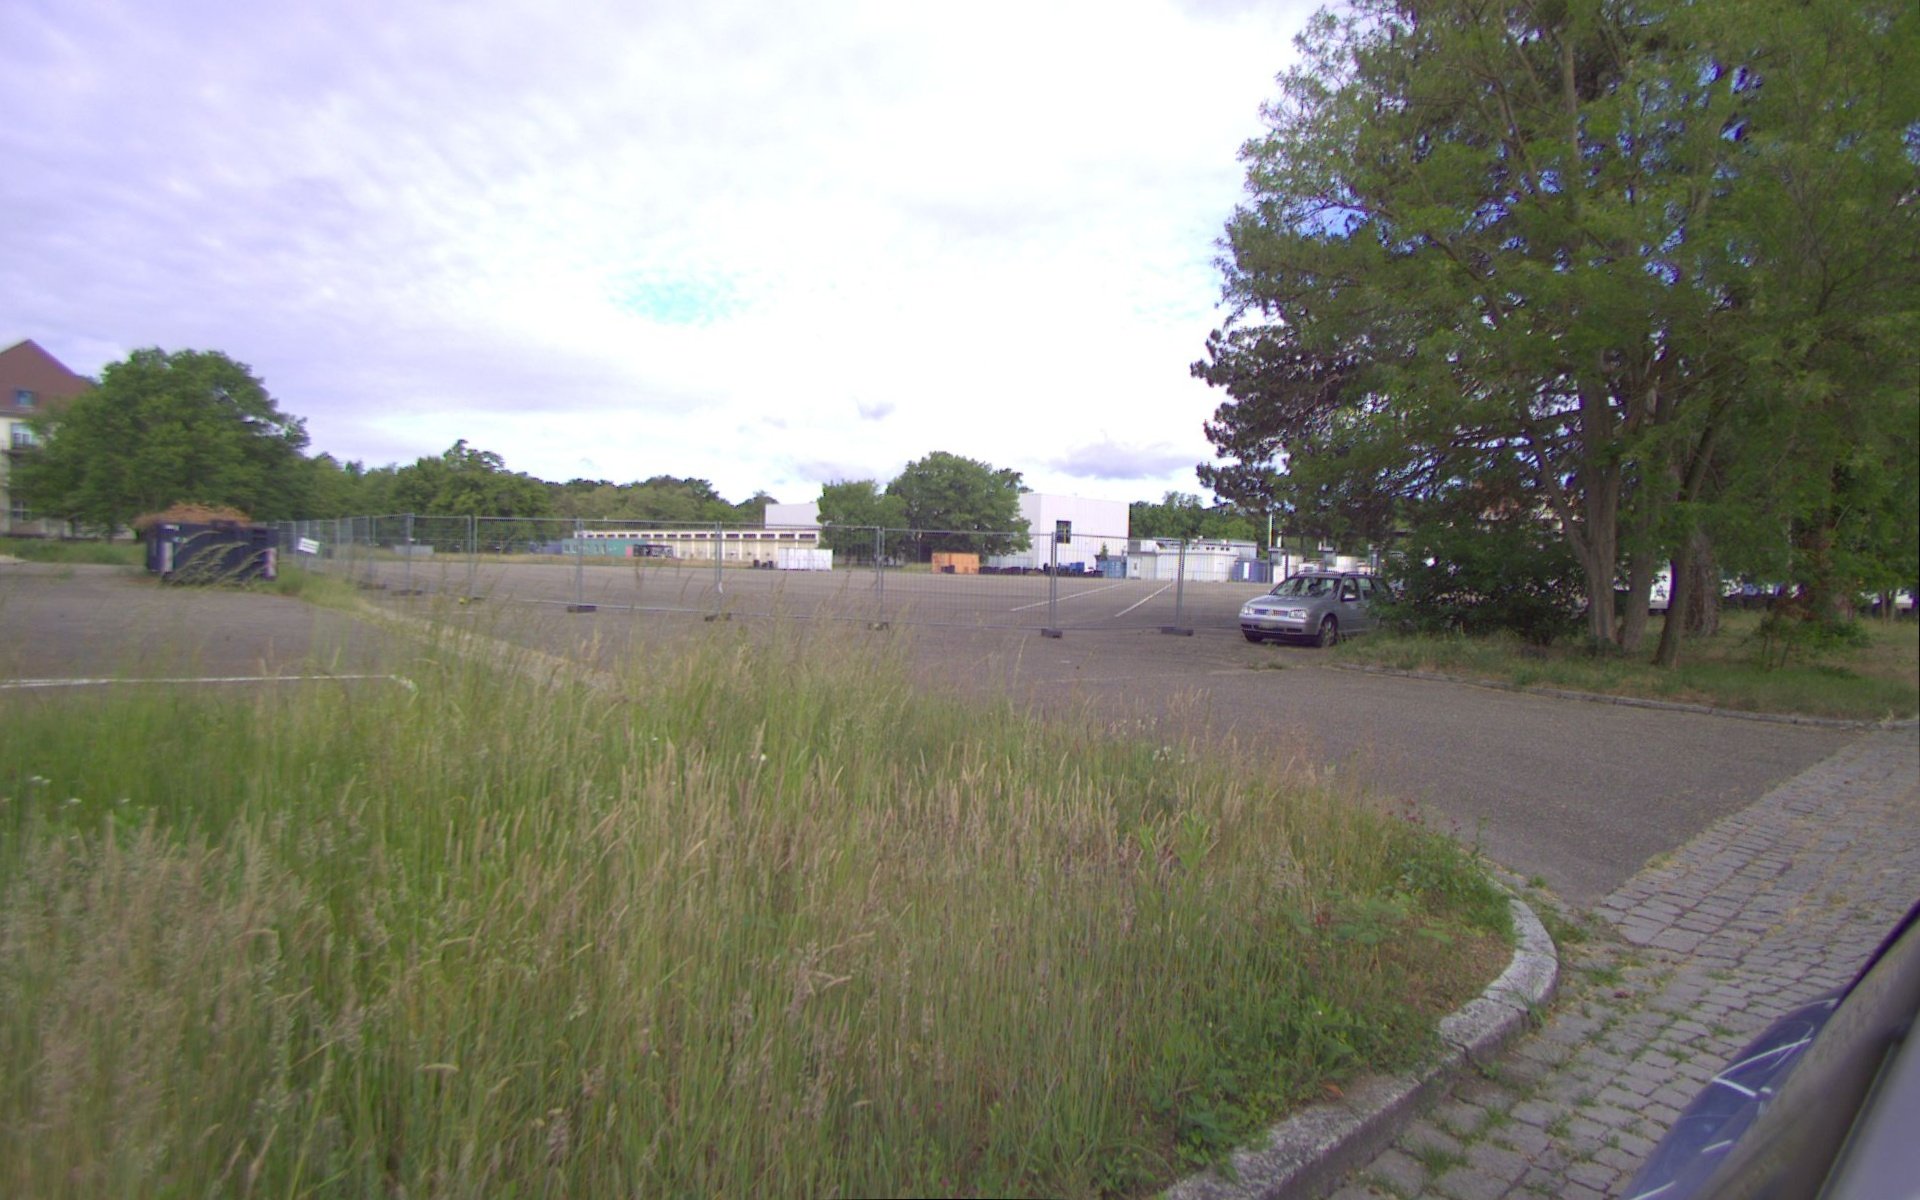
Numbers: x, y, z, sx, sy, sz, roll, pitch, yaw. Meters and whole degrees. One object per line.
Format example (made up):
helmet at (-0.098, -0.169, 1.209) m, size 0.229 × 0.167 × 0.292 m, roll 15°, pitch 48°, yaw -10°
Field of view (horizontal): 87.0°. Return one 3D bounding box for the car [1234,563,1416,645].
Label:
car at (7.503, 0.031, 20.571) m, size 4.415 × 1.468 × 1.676 m, roll -1°, pitch 3°, yaw -44°
